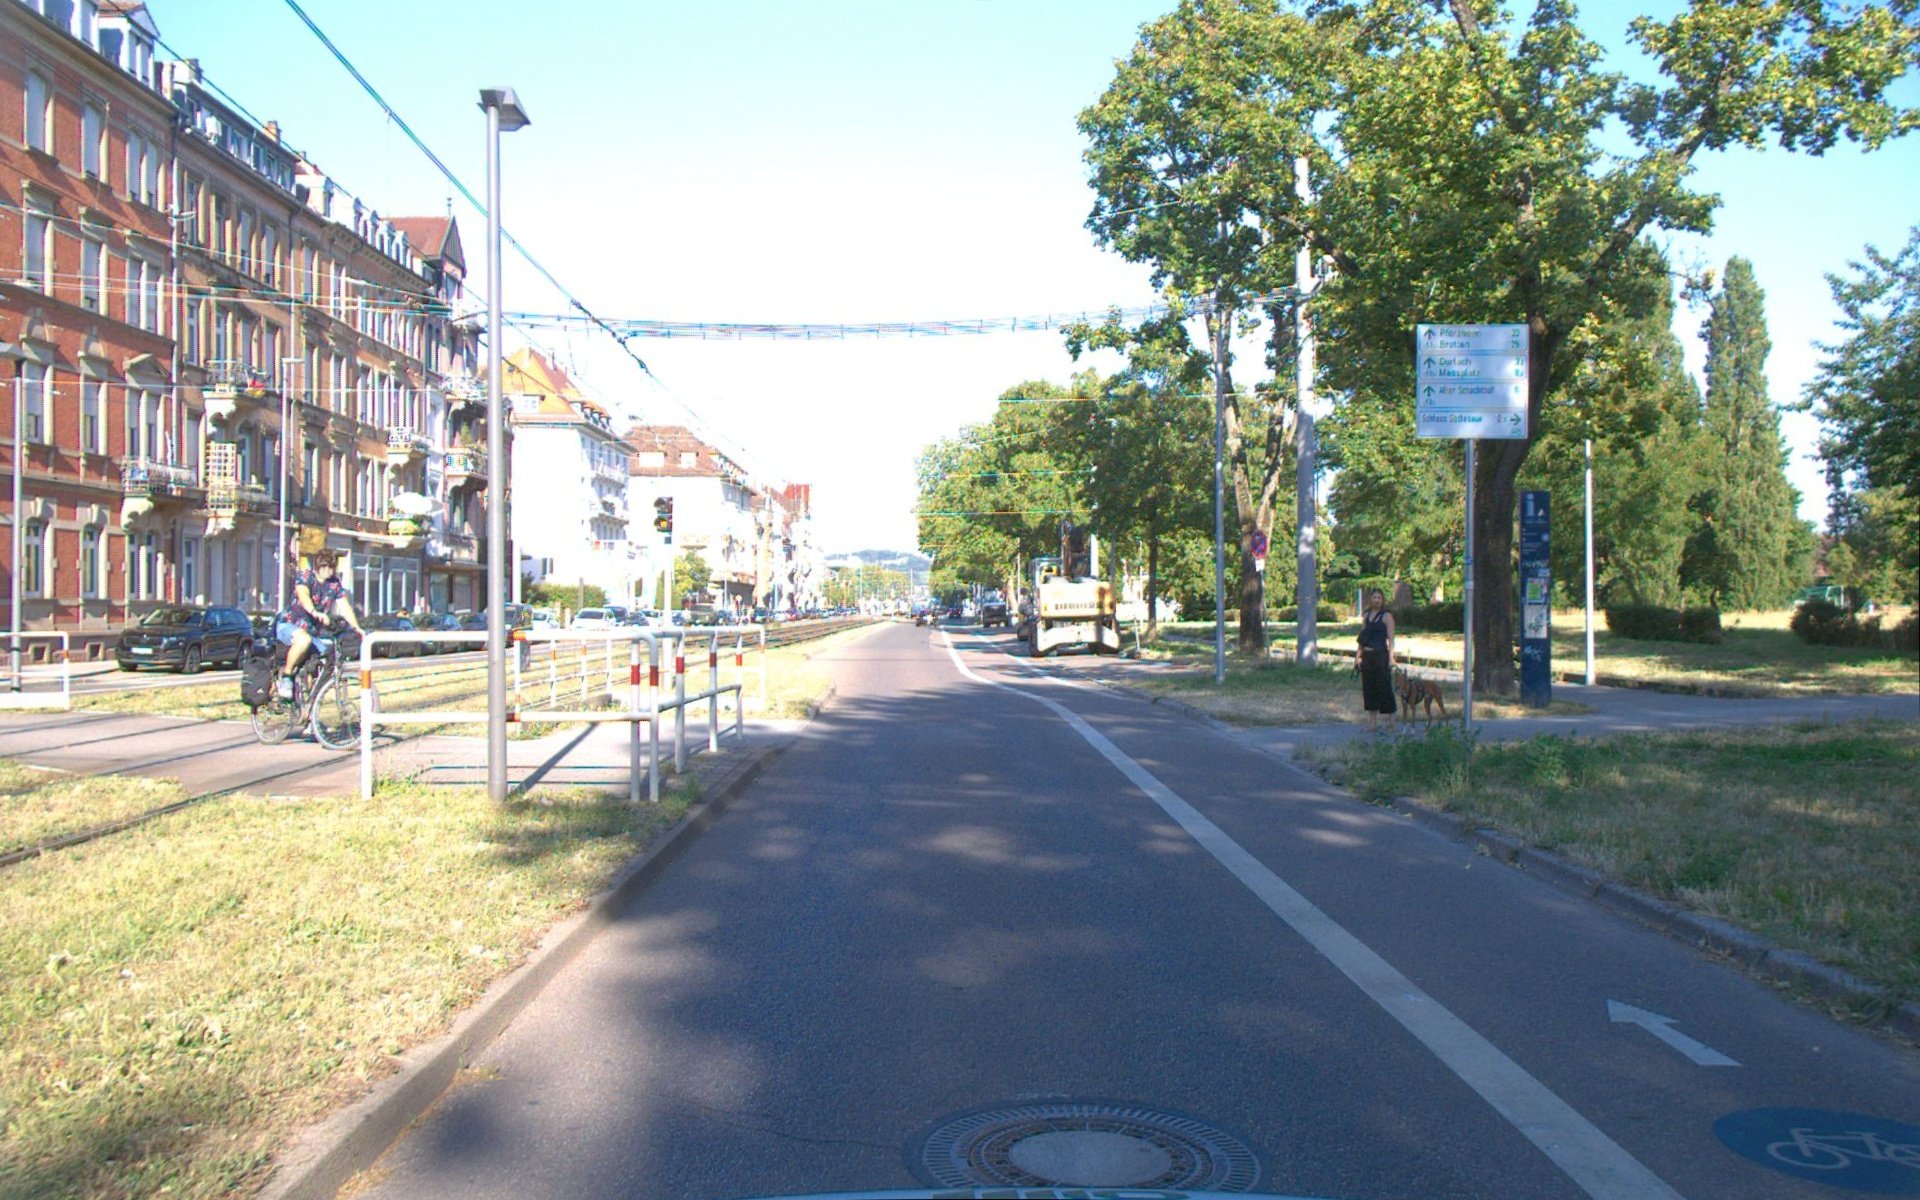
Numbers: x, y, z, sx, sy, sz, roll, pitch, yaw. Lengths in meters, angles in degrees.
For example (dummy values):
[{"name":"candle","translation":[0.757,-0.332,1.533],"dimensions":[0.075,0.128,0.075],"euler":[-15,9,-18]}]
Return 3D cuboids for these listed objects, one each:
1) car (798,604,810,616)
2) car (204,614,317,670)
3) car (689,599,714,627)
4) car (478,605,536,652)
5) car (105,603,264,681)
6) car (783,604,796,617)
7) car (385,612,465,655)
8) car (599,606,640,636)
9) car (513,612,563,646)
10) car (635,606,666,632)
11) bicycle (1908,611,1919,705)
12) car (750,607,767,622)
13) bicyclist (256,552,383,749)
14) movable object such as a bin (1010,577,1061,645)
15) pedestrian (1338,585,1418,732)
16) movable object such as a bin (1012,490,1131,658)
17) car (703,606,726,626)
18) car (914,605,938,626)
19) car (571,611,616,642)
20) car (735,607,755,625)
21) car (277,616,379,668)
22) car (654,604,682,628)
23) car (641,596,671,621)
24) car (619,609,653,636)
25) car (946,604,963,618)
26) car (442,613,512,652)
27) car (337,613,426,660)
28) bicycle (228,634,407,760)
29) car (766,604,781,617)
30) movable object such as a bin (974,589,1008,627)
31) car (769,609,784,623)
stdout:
[{"name":"car","translation":[-23.573,1.537,250.373],"dimensions":[1.496,1.638,3.222],"euler":[2,1,-2]},{"name":"car","translation":[-19.847,1.163,47.096],"dimensions":[1.739,1.492,3.530],"euler":[2,-1,-2]},{"name":"car","translation":[-21.500,1.062,137.627],"dimensions":[1.624,2.177,3.524],"euler":[2,1,-2]},{"name":"car","translation":[-19.928,1.225,72.911],"dimensions":[1.530,1.886,3.899],"euler":[2,1,-2]},{"name":"car","translation":[-19.759,1.020,42.372],"dimensions":[1.975,1.784,4.557],"euler":[2,1,-2]},{"name":"car","translation":[-22.619,1.394,219.357],"dimensions":[1.496,1.638,3.222],"euler":[2,1,-2]},{"name":"car","translation":[-19.843,1.231,61.475],"dimensions":[1.740,1.431,3.908],"euler":[2,1,-2]},{"name":"car","translation":[-20.045,1.219,97.391],"dimensions":[1.706,1.588,3.766],"euler":[2,1,-2]},{"name":"car","translation":[-20.329,1.357,79.780],"dimensions":[1.530,1.483,3.664],"euler":[2,1,-2]},{"name":"car","translation":[-20.454,1.247,109.461],"dimensions":[1.496,1.588,3.222],"euler":[2,1,-2]},{"name":"bicycle","translation":[11.841,0.642,18.291],"dimensions":[2.211,1.059,0.767],"euler":[-1,0,9]},{"name":"car","translation":[-22.036,1.580,181.168],"dimensions":[1.496,1.588,3.222],"euler":[2,1,-2]},{"name":"bicyclist","translation":[-5.929,0.446,15.306],"dimensions":[0.906,1.745,0.762],"euler":[-1,0,42]},{"name":"movable object such as a bin","translation":[3.575,0.534,79.283],"dimensions":[1.929,3.065,4.794],"euler":[-3,0,-2]},{"name":"pedestrian","translation":[4.950,0.680,19.645],"dimensions":[0.647,1.675,0.862],"euler":[-3,0,-1]},{"name":"movable object such as a bin","translation":[3.710,-0.816,57.152],"dimensions":[3.025,5.177,8.888],"euler":[-3,0,-2]},{"name":"car","translation":[-21.277,1.403,143.503],"dimensions":[1.496,1.588,3.222],"euler":[2,1,-2]},{"name":"car","translation":[-2.888,1.351,141.432],"dimensions":[1.953,1.713,3.999],"euler":[2,0,-1]},{"name":"car","translation":[-20.503,1.480,92.624],"dimensions":[1.706,1.588,3.766],"euler":[2,1,-2]},{"name":"car","translation":[-20.580,1.507,158.412],"dimensions":[1.496,1.588,3.222],"euler":[2,1,-2]},{"name":"car","translation":[-19.834,1.291,52.063],"dimensions":[1.740,1.431,3.908],"euler":[2,1,-2]},{"name":"car","translation":[-20.877,1.160,118.348],"dimensions":[1.496,1.588,3.222],"euler":[2,1,-2]},{"name":"car","translation":[-20.831,0.586,113.399],"dimensions":[1.496,1.588,3.222],"euler":[2,1,-2]},{"name":"car","translation":[-20.156,1.391,102.933],"dimensions":[1.496,1.588,3.222],"euler":[2,1,-2]},{"name":"car","translation":[-0.780,1.525,233.028],"dimensions":[1.956,1.892,3.993],"euler":[2,0,-7]},{"name":"car","translation":[-19.595,1.302,67.295],"dimensions":[1.740,1.431,3.978],"euler":[2,1,-2]},{"name":"car","translation":[-19.874,1.243,56.954],"dimensions":[1.740,1.431,3.908],"euler":[2,1,-2]},{"name":"bicycle","translation":[-5.983,0.865,15.352],"dimensions":[1.924,1.059,0.762],"euler":[0,0,42]},{"name":"car","translation":[-23.304,1.305,206.932],"dimensions":[1.496,1.638,3.222],"euler":[2,1,-2]},{"name":"movable object such as a bin","translation":[2.474,0.643,134.494],"dimensions":[2.417,2.956,3.998],"euler":[-3,0,-2]},{"name":"car","translation":[-22.006,1.882,198.102],"dimensions":[1.496,1.588,3.222],"euler":[2,1,-2]}]
